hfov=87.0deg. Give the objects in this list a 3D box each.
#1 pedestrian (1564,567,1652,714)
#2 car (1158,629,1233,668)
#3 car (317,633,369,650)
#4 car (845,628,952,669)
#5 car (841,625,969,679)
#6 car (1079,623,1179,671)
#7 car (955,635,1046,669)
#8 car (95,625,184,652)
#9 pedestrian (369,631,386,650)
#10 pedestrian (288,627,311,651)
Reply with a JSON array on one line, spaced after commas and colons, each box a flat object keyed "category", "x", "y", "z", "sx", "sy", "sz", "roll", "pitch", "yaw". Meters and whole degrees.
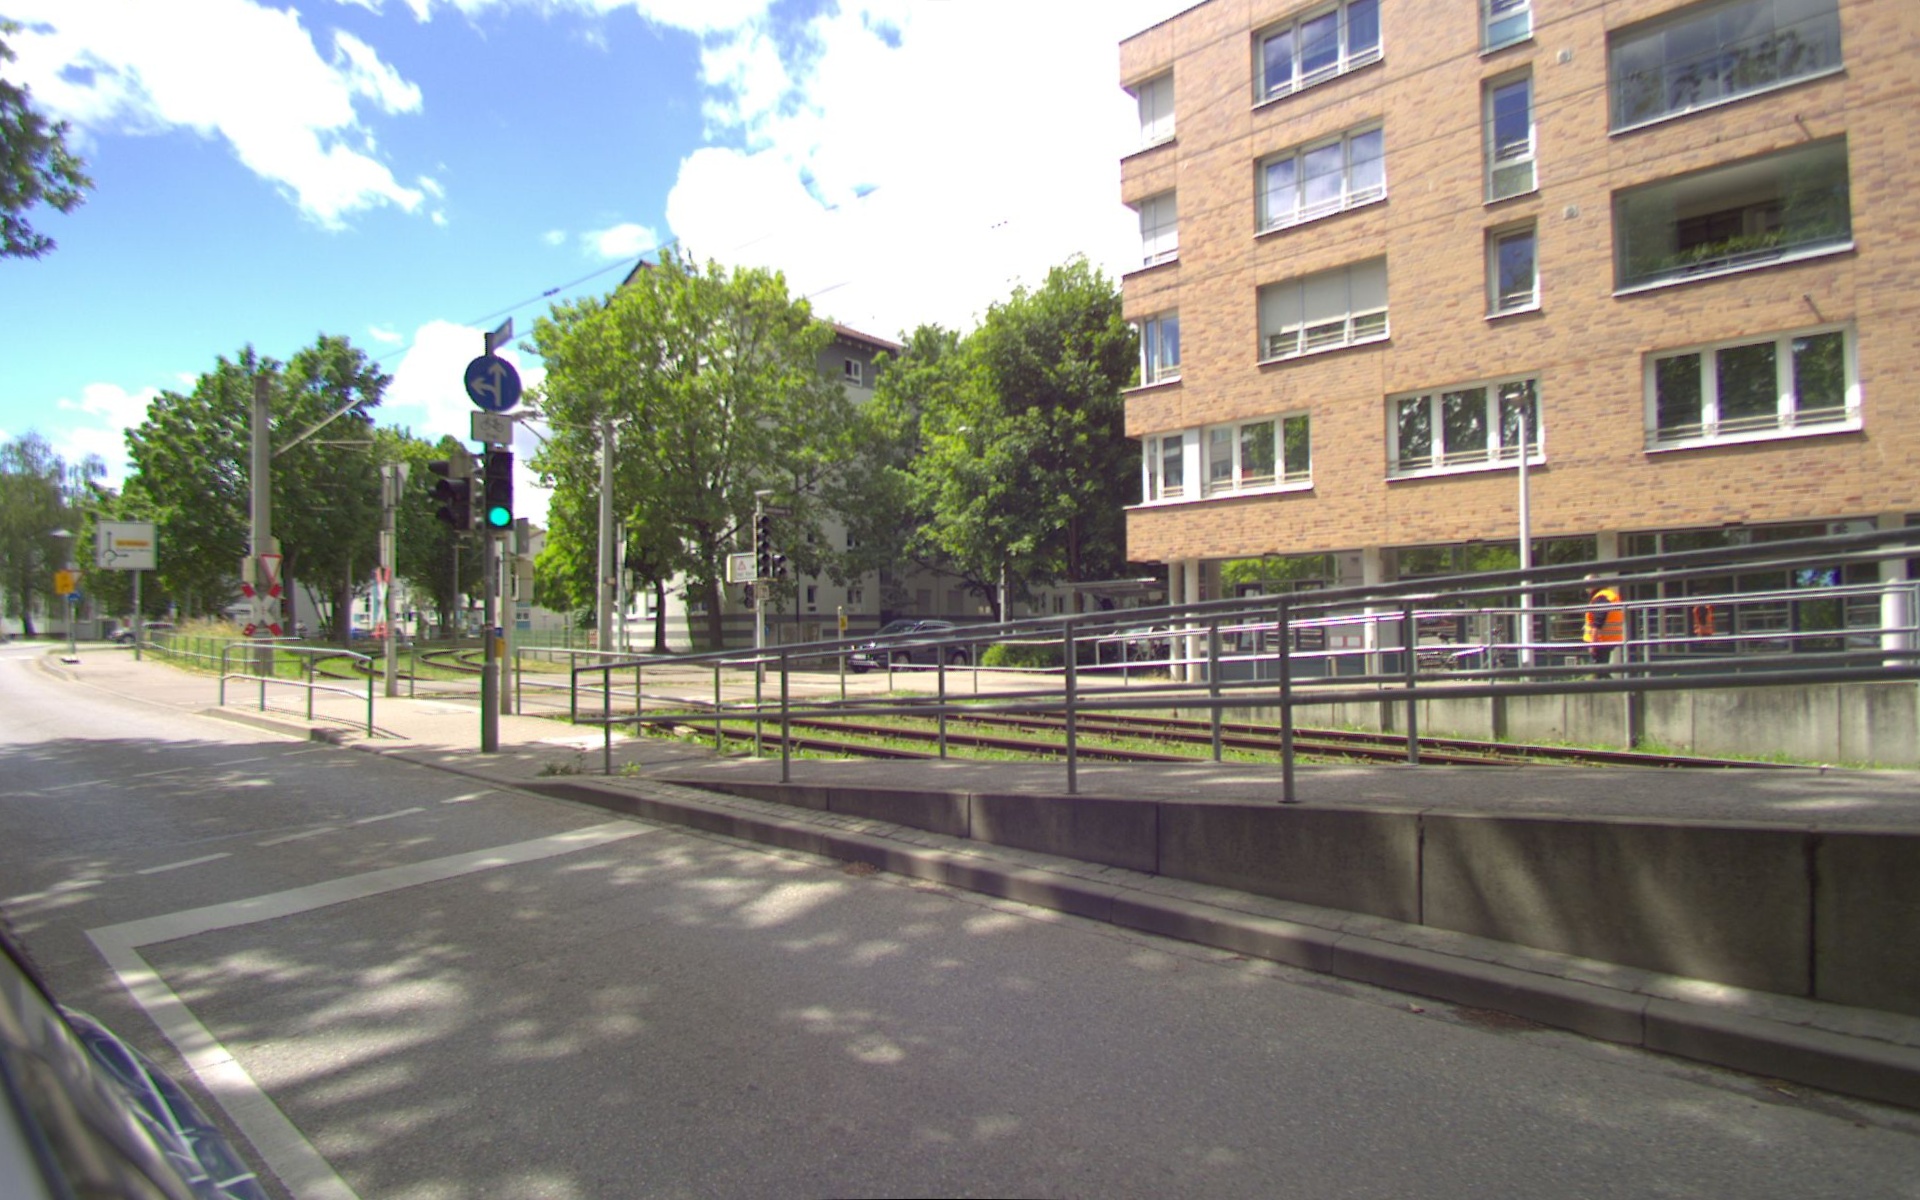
[{"category": "pedestrian", "x": 8.455, "y": 0.523, "z": 13.216, "sx": 0.828, "sy": 1.839, "sz": 0.735, "roll": -2, "pitch": -3, "yaw": 41}, {"category": "car", "x": 7.042, "y": 1.431, "z": 30.188, "sx": 1.147, "sy": 1.128, "sz": 2.627, "roll": -2, "pitch": -3, "yaw": 39}, {"category": "car", "x": -54.968, "y": 3.697, "z": 90.163, "sx": 4.092, "sy": 1.535, "sz": 1.797, "roll": -1, "pitch": -2, "yaw": 20}, {"category": "car", "x": -2.539, "y": 1.944, "z": 41.402, "sx": 4.101, "sy": 1.567, "sz": 1.839, "roll": -1, "pitch": -2, "yaw": 34}, {"category": "car", "x": -1.570, "y": 1.555, "z": 29.681, "sx": 1.588, "sy": 1.488, "sz": 3.631, "roll": -2, "pitch": -4, "yaw": 44}, {"category": "car", "x": 5.340, "y": 1.449, "z": 31.788, "sx": 1.593, "sy": 1.410, "sz": 3.496, "roll": -2, "pitch": -2, "yaw": 39}, {"category": "car", "x": 1.970, "y": 2.519, "z": 49.531, "sx": 4.101, "sy": 1.567, "sz": 1.839, "roll": -1, "pitch": -2, "yaw": 34}, {"category": "car", "x": -57.801, "y": 2.686, "z": 71.372, "sx": 1.998, "sy": 1.810, "sz": 4.558, "roll": -2, "pitch": -2, "yaw": 39}, {"category": "pedestrian", "x": -51.300, "y": 3.550, "z": 89.100, "sx": 0.874, "sy": 1.677, "sz": 1.010, "roll": -2, "pitch": -2, "yaw": 35}, {"category": "pedestrian", "x": -46.081, "y": 2.732, "z": 70.642, "sx": 1.014, "sy": 1.677, "sz": 0.870, "roll": -1, "pitch": -2, "yaw": 20}]
